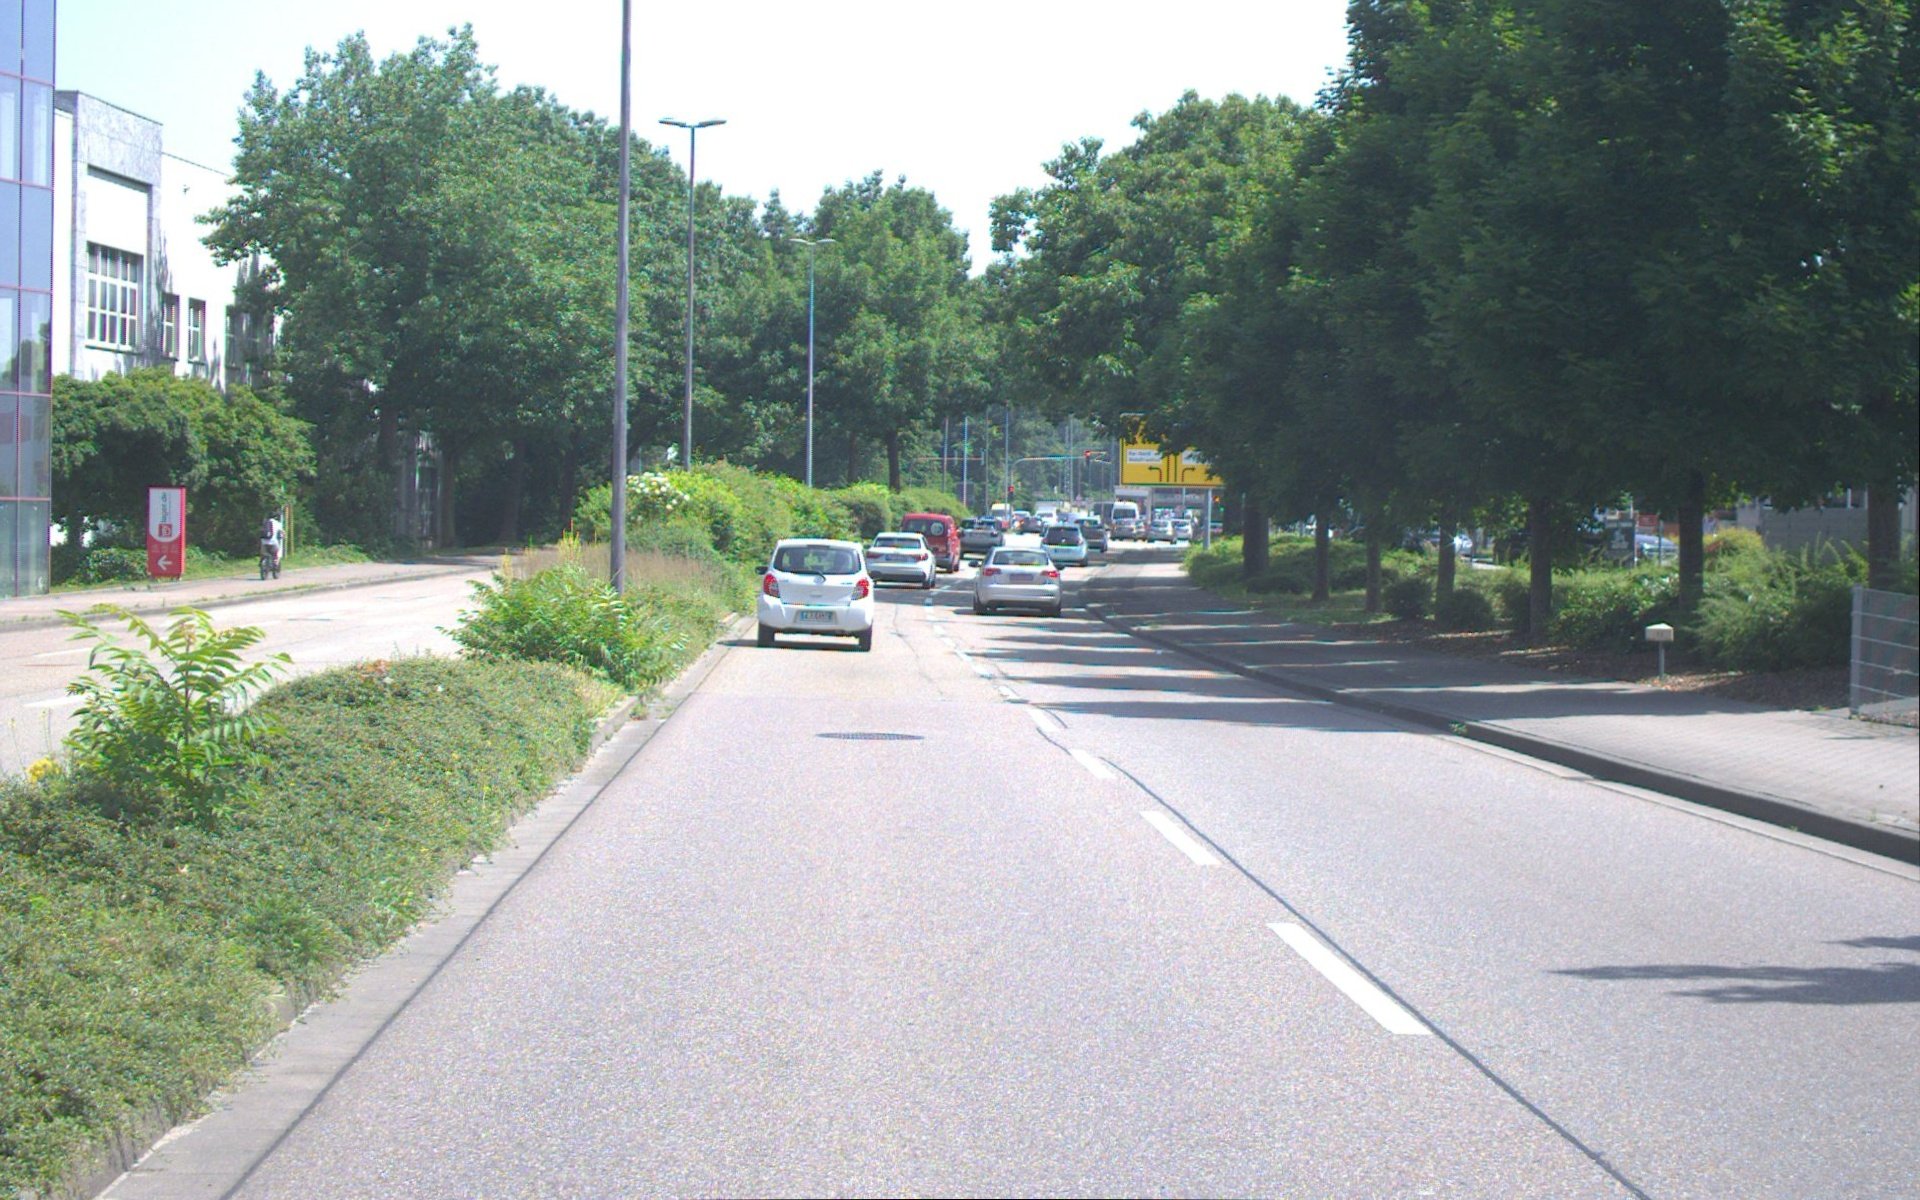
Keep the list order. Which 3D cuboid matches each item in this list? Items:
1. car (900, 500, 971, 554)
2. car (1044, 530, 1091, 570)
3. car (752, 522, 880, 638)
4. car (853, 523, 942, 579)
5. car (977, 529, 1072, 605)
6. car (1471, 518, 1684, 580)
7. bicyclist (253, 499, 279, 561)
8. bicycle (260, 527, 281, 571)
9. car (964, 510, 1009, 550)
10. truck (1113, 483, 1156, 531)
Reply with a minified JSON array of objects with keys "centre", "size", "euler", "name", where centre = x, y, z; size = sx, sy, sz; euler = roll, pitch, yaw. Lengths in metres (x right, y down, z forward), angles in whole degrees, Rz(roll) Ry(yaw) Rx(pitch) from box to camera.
[{"centre":[-0.737,-2.243,105.057],"size":[1.885,1.603,4.000],"euler":[-1,1,4],"name":"car"},{"centre":[3.760,-1.750,120.289],"size":[1.441,1.343,3.460],"euler":[-1,1,-1],"name":"car"},{"centre":[-2.020,-0.310,48.904],"size":[1.638,1.546,3.325],"euler":[2,1,0],"name":"car"},{"centre":[-1.565,-1.263,87.635],"size":[1.885,1.349,4.000],"euler":[2,1,4],"name":"car"},{"centre":[1.363,-0.706,71.173],"size":[1.866,1.468,4.000],"euler":[2,1,2],"name":"car"},{"centre":[13.872,-1.156,77.465],"size":[1.947,1.347,4.715],"euler":[-2,2,-34],"name":"car"},{"centre":[-16.920,-1.705,83.877],"size":[0.545,1.504,0.343],"euler":[-1,1,-1],"name":"bicyclist"},{"centre":[-16.864,-1.240,84.084],"size":[0.346,1.064,0.923],"euler":[-1,1,-1],"name":"bicycle"},{"centre":[0.967,-2.564,125.482],"size":[1.487,1.387,3.308],"euler":[2,1,-1],"name":"car"},{"centre":[12.941,-6.900,254.261],"size":[2.932,3.490,9.157],"euler":[1,2,4],"name":"truck"}]
